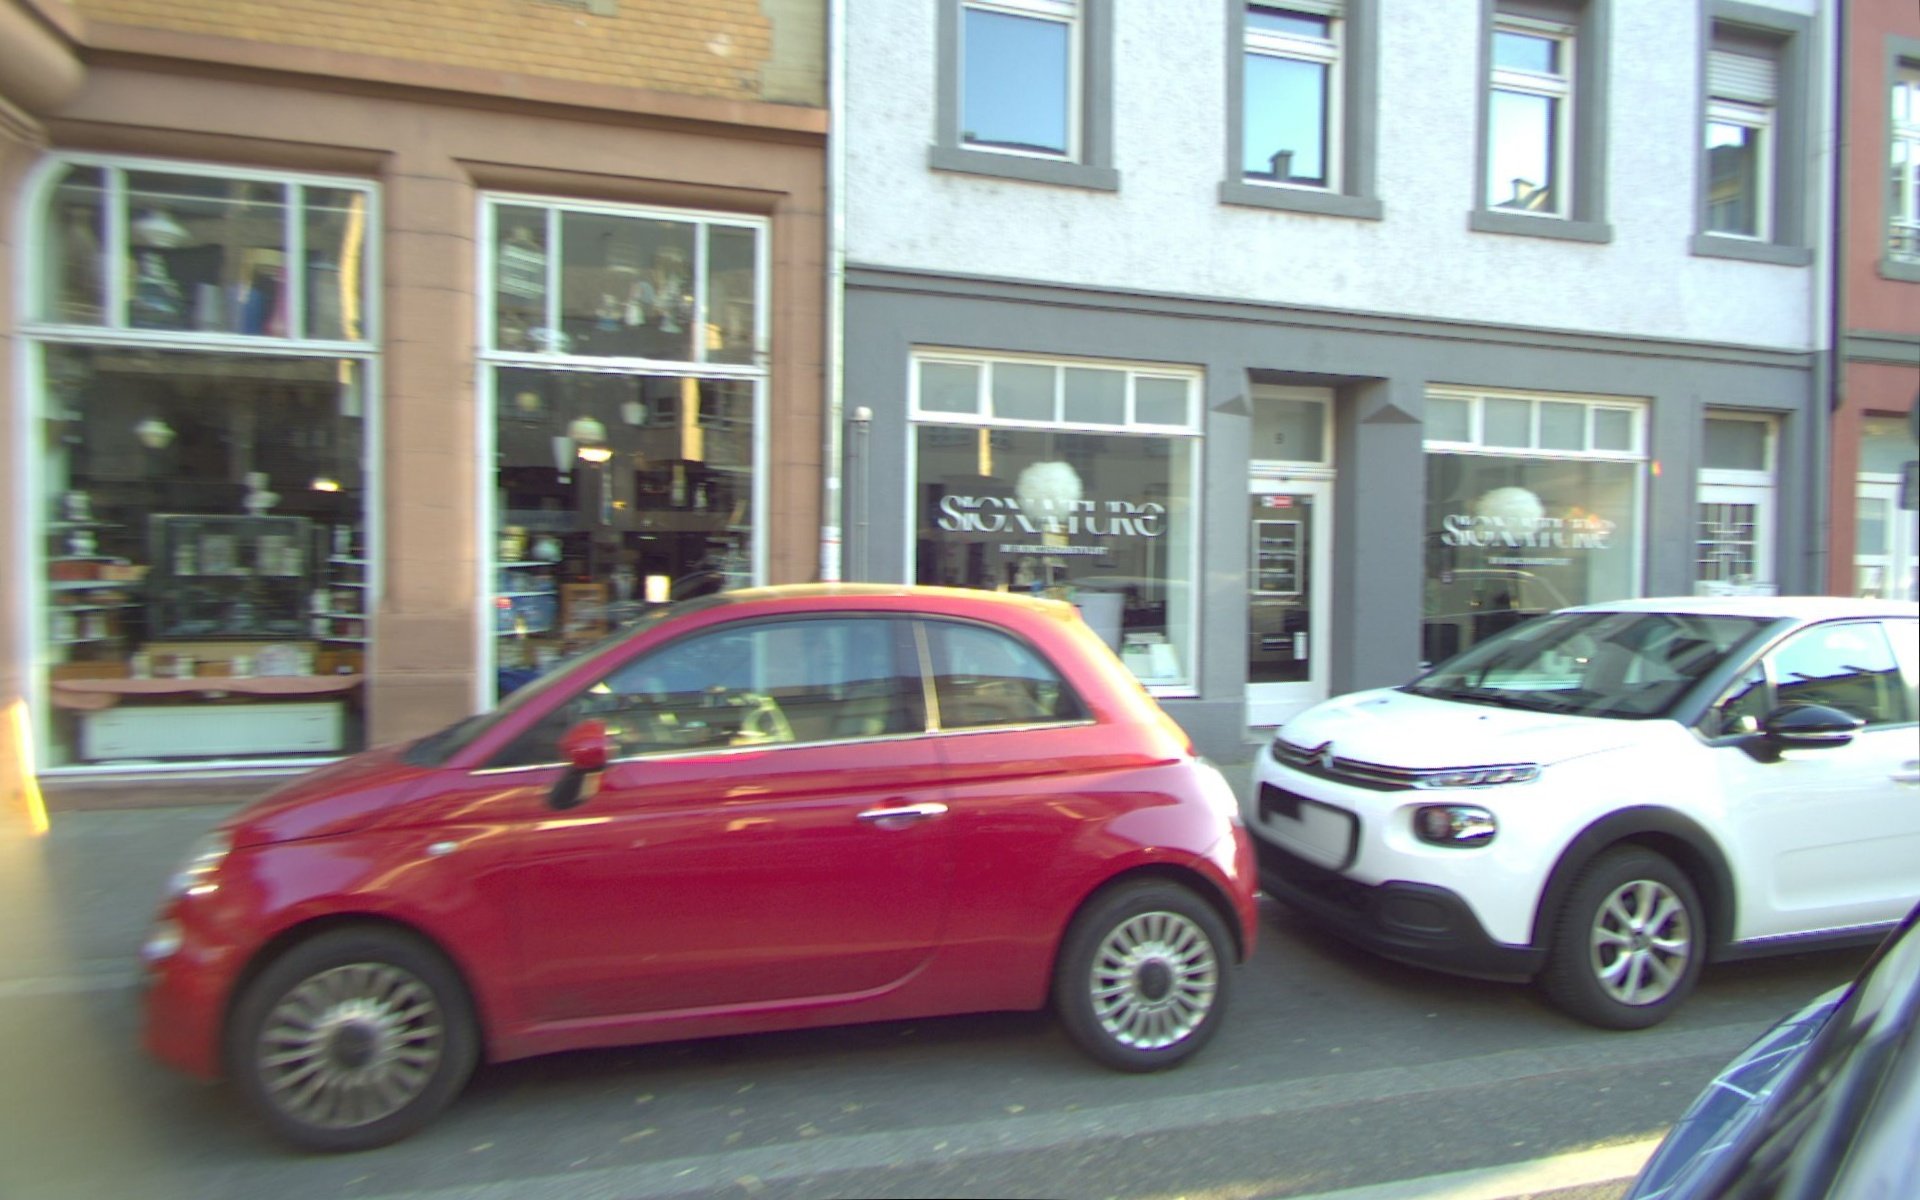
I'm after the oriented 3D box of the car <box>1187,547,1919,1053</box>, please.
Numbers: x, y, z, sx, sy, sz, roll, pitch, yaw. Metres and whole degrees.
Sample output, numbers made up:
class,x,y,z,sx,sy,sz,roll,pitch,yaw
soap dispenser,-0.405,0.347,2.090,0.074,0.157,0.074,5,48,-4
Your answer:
class,x,y,z,sx,sy,sz,roll,pitch,yaw
car,3.154,0.617,4.457,3.852,1.593,1.670,0,0,-14

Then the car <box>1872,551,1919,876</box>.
class,x,y,z,sx,sy,sz,roll,pitch,yaw
car,7.377,0.593,5.273,4.366,1.720,1.803,0,0,-15

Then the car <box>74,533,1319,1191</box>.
class,x,y,z,sx,sy,sz,roll,pitch,yaw
car,-0.676,0.623,3.562,3.350,1.590,1.534,0,0,-13
